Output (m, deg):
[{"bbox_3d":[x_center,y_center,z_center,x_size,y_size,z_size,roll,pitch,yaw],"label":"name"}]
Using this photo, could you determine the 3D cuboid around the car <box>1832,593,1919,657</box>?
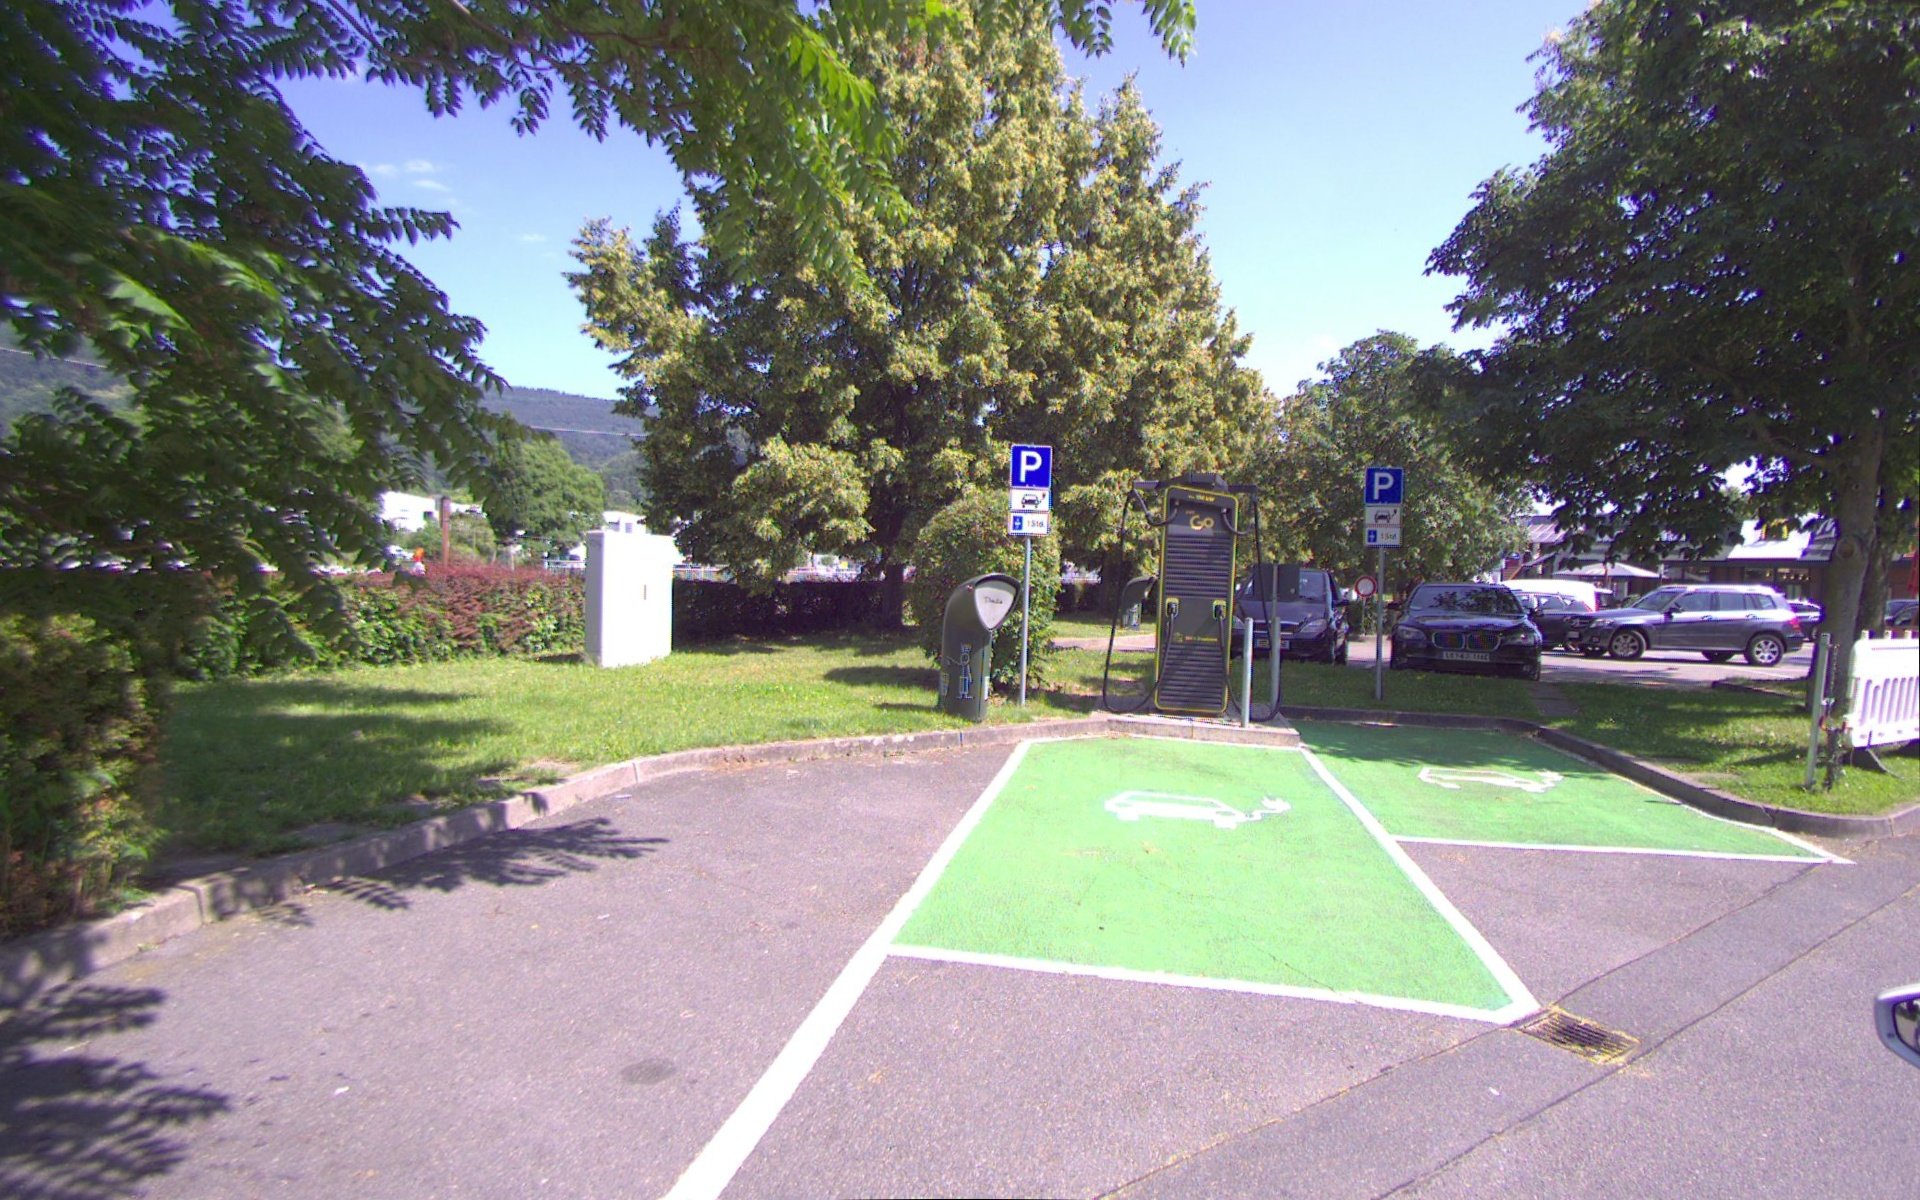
[{"bbox_3d":[27.872,0.700,29.258,1.824,1.708,4.369,0,1,12],"label":"car"}]

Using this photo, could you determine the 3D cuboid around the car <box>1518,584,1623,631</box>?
[{"bbox_3d":[22.476,0.231,37.180,1.882,1.573,4.144,2,2,10],"label":"car"}]

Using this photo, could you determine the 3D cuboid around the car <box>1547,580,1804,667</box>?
[{"bbox_3d":[15.990,0.483,22.684,4.278,1.708,1.863,2,2,9],"label":"car"}]

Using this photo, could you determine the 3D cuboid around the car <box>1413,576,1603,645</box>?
[{"bbox_3d":[15.250,0.259,28.174,4.225,1.708,1.863,2,2,10],"label":"car"}]

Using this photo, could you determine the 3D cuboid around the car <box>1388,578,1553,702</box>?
[{"bbox_3d":[7.488,0.474,15.098,1.827,1.472,4.364,4,3,23],"label":"car"}]

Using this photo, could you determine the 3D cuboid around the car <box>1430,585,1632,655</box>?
[{"bbox_3d":[14.218,0.458,25.223,3.957,1.511,1.863,2,2,9],"label":"car"}]

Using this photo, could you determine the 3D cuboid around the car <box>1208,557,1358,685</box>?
[{"bbox_3d":[5.443,0.255,16.555,1.827,1.708,4.364,4,3,23],"label":"car"}]
